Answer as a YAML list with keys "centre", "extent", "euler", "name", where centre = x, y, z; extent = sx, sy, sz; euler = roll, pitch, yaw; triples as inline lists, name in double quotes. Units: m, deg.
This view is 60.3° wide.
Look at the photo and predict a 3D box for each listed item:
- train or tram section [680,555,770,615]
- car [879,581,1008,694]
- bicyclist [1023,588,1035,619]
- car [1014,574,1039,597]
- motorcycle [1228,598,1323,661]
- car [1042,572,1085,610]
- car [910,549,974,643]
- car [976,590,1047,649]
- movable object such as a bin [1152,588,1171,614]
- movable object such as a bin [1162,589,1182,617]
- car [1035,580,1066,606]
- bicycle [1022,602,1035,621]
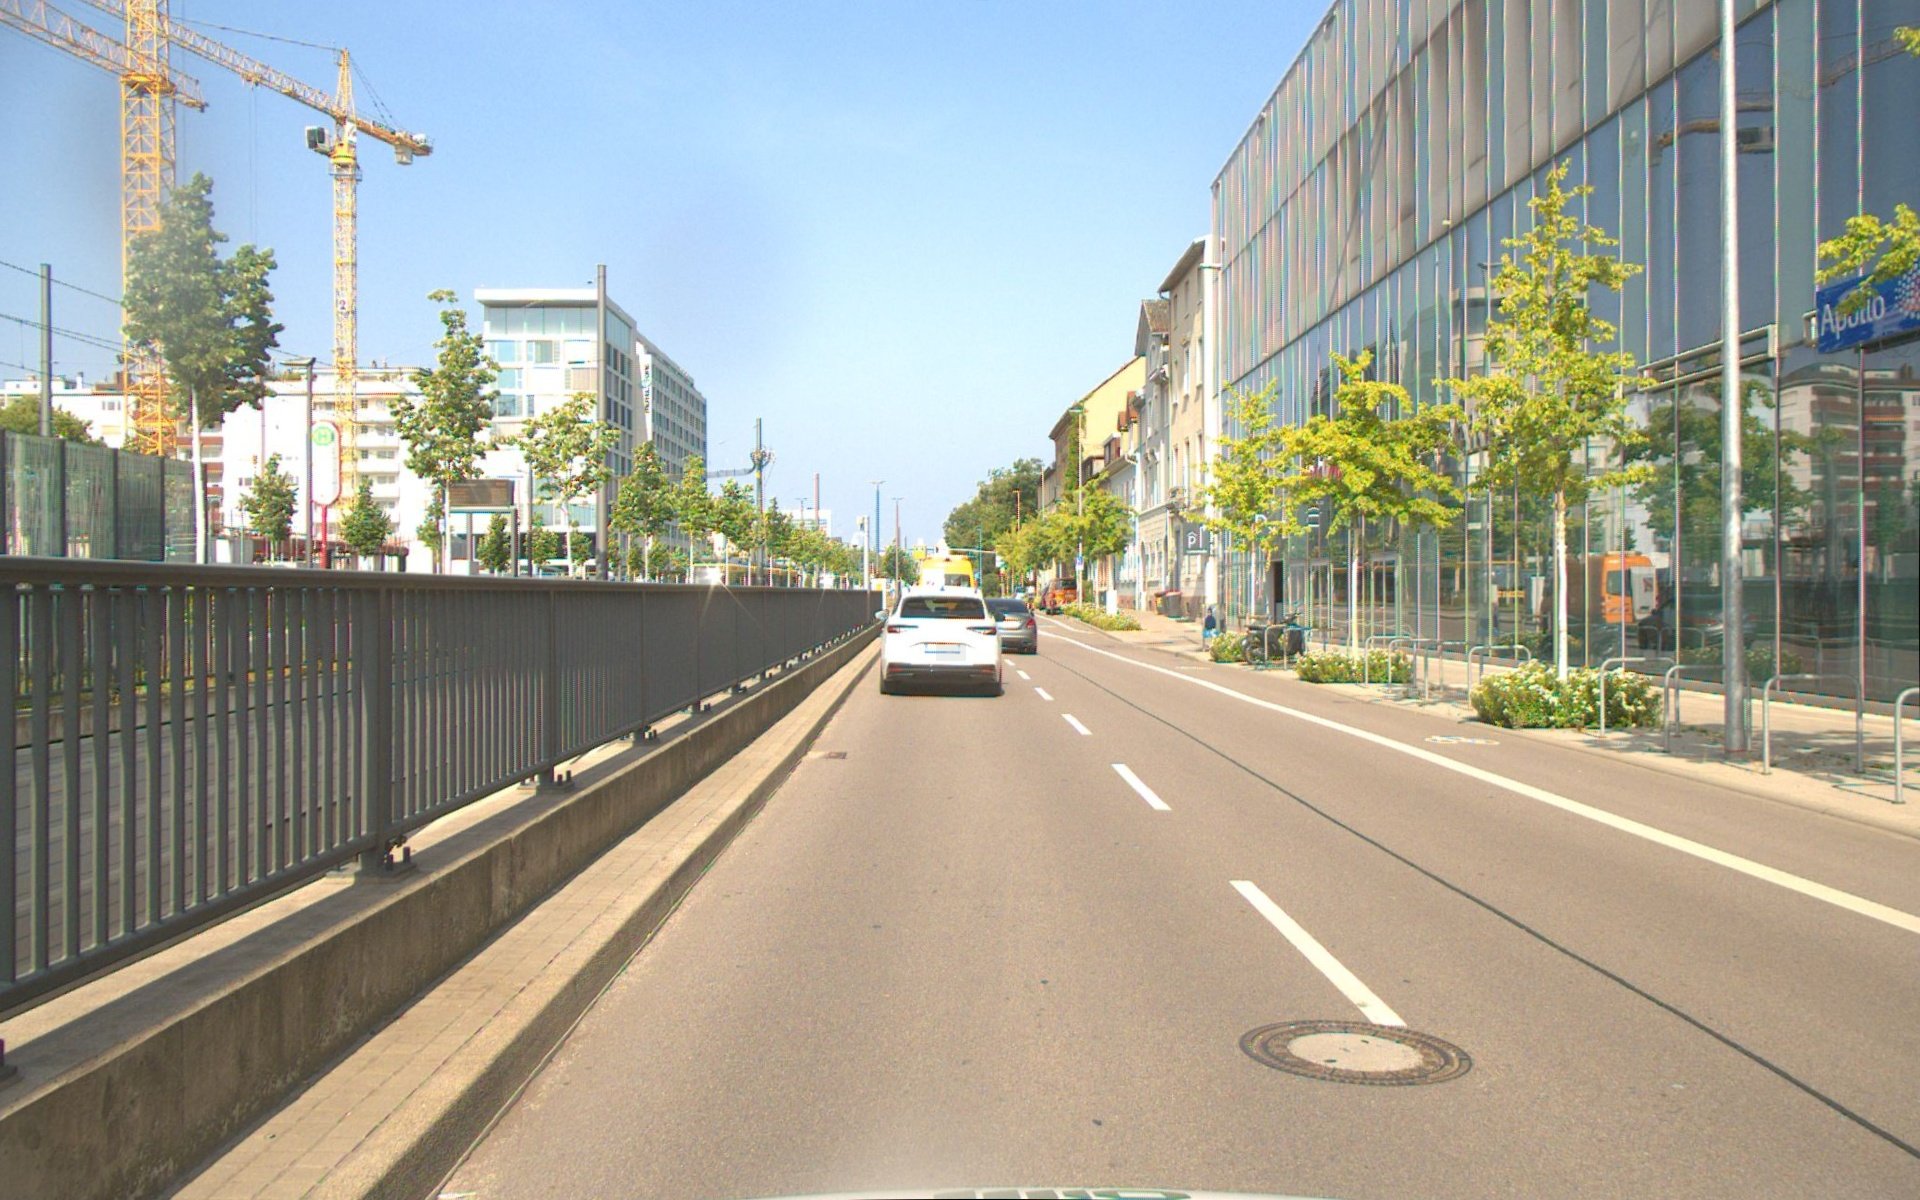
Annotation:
- centre: [-16.149, -0.987, 115.294]
  extent: [2.845, 3.740, 18.142]
  euler: [1, 0, 2]
  name: "train or tram section"
- centre: [-0.251, 0.516, 25.548]
  extent: [1.831, 1.602, 4.000]
  euler: [0, 1, 0]
  name: "car"
- centre: [3.566, 0.186, 85.756]
  extent: [0.626, 1.604, 0.771]
  euler: [0, 0, 1]
  name: "bicyclist"
- centre: [5.412, -1.221, 135.189]
  extent: [1.776, 1.844, 3.835]
  euler: [0, 1, -1]
  name: "car"
- centre: [7.139, 0.653, 37.483]
  extent: [1.934, 1.373, 0.865]
  euler: [-1, 0, -12]
  name: "motorcycle"
- centre: [5.680, -0.541, 91.565]
  extent: [2.021, 2.048, 4.587]
  euler: [0, 1, -1]
  name: "car"
- centre: [-0.580, -0.211, 54.588]
  extent: [1.979, 2.844, 5.401]
  euler: [0, 2, 0]
  name: "car"
- centre: [1.339, 0.486, 44.437]
  extent: [1.724, 1.461, 4.115]
  euler: [1, 1, 0]
  name: "car"
- centre: [9.402, 0.033, 77.211]
  extent: [0.666, 1.172, 0.607]
  euler: [-2, 3, -45]
  name: "movable object such as a bin"
- centre: [9.455, 0.137, 73.791]
  extent: [0.765, 1.192, 0.808]
  euler: [0, 2, -2]
  name: "movable object such as a bin"
- centre: [5.735, -0.441, 105.037]
  extent: [1.639, 1.509, 4.311]
  euler: [-2, 0, -1]
  name: "car"
- centre: [3.566, 0.596, 85.752]
  extent: [0.642, 0.955, 1.517]
  euler: [0, 1, 2]
  name: "bicycle"
